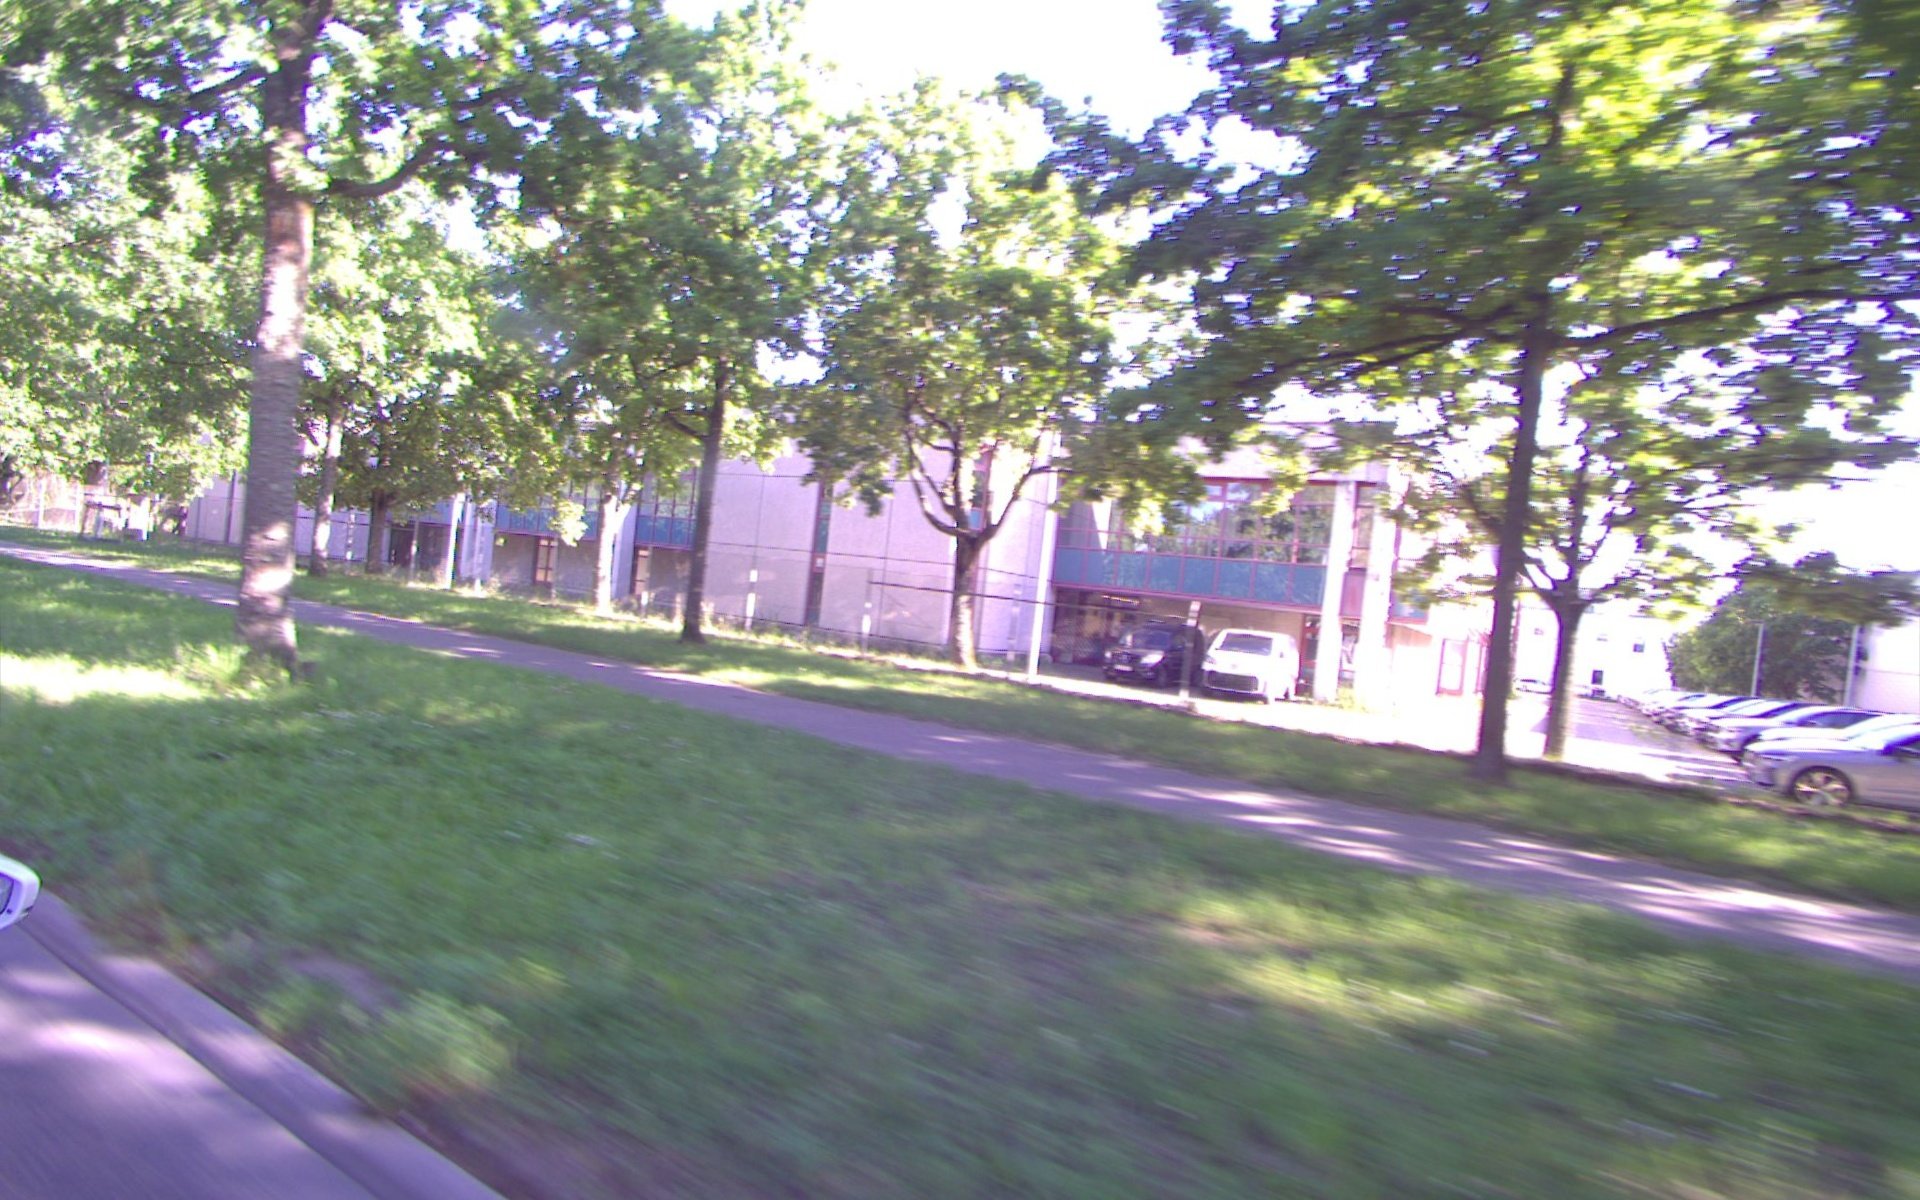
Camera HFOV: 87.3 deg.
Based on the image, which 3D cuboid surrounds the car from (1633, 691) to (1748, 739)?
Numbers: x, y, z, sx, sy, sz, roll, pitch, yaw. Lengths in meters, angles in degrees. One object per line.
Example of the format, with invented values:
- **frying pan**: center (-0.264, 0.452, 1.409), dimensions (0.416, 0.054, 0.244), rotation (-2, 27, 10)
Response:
- **car**: center (35.314, 5.550, 48.728), dimensions (4.280, 1.692, 1.738), rotation (6, -2, 37)

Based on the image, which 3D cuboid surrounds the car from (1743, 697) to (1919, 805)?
- **car**: center (17.659, 2.931, 18.797), dimensions (4.380, 1.578, 1.997), rotation (7, 0, 30)

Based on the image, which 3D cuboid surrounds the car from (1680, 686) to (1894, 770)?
- **car**: center (24.199, 3.730, 29.704), dimensions (4.648, 1.692, 1.702), rotation (6, -2, 37)

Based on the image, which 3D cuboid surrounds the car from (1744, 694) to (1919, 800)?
- **car**: center (19.173, 3.117, 20.689), dimensions (4.380, 1.694, 1.997), rotation (7, 0, 30)

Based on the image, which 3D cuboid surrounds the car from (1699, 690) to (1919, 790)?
- **car**: center (20.251, 3.262, 23.503), dimensions (4.377, 1.692, 1.999), rotation (6, -2, 27)

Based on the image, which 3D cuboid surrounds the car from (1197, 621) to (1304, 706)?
- **car**: center (8.311, 1.753, 28.471), dimensions (1.861, 1.984, 5.072), rotation (6, 1, 26)

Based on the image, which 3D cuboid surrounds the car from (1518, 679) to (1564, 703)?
- **car**: center (62.119, 9.720, 107.529), dimensions (3.936, 2.037, 1.996), rotation (6, -2, 34)

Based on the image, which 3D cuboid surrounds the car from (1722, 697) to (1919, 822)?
- **car**: center (15.797, 2.766, 16.694), dimensions (4.636, 1.626, 1.996), rotation (6, 0, 30)

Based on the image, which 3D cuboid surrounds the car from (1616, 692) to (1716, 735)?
- **car**: center (38.533, 6.192, 54.933), dimensions (4.280, 1.692, 1.738), rotation (6, -2, 37)

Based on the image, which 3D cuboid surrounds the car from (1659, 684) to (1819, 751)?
- **car**: center (27.567, 4.138, 35.758), dimensions (4.280, 1.692, 1.738), rotation (6, -2, 37)

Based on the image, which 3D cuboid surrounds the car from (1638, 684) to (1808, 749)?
- **car**: center (28.668, 4.364, 37.964), dimensions (4.881, 1.692, 1.738), rotation (6, -2, 37)

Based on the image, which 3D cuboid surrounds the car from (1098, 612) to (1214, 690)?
- **car**: center (5.905, 1.525, 29.848), dimensions (1.965, 1.907, 4.958), rotation (6, 0, 26)

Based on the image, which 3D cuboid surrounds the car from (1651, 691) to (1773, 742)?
- **car**: center (34.394, 5.322, 46.111), dimensions (4.280, 1.692, 1.738), rotation (6, -2, 37)

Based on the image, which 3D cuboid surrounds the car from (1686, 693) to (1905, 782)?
- **car**: center (22.689, 3.700, 27.589), dimensions (4.388, 1.675, 1.695), rotation (6, -2, 37)

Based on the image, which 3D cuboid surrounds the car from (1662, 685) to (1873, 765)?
- **car**: center (25.162, 3.876, 31.626), dimensions (4.891, 1.692, 1.739), rotation (6, -2, 34)
